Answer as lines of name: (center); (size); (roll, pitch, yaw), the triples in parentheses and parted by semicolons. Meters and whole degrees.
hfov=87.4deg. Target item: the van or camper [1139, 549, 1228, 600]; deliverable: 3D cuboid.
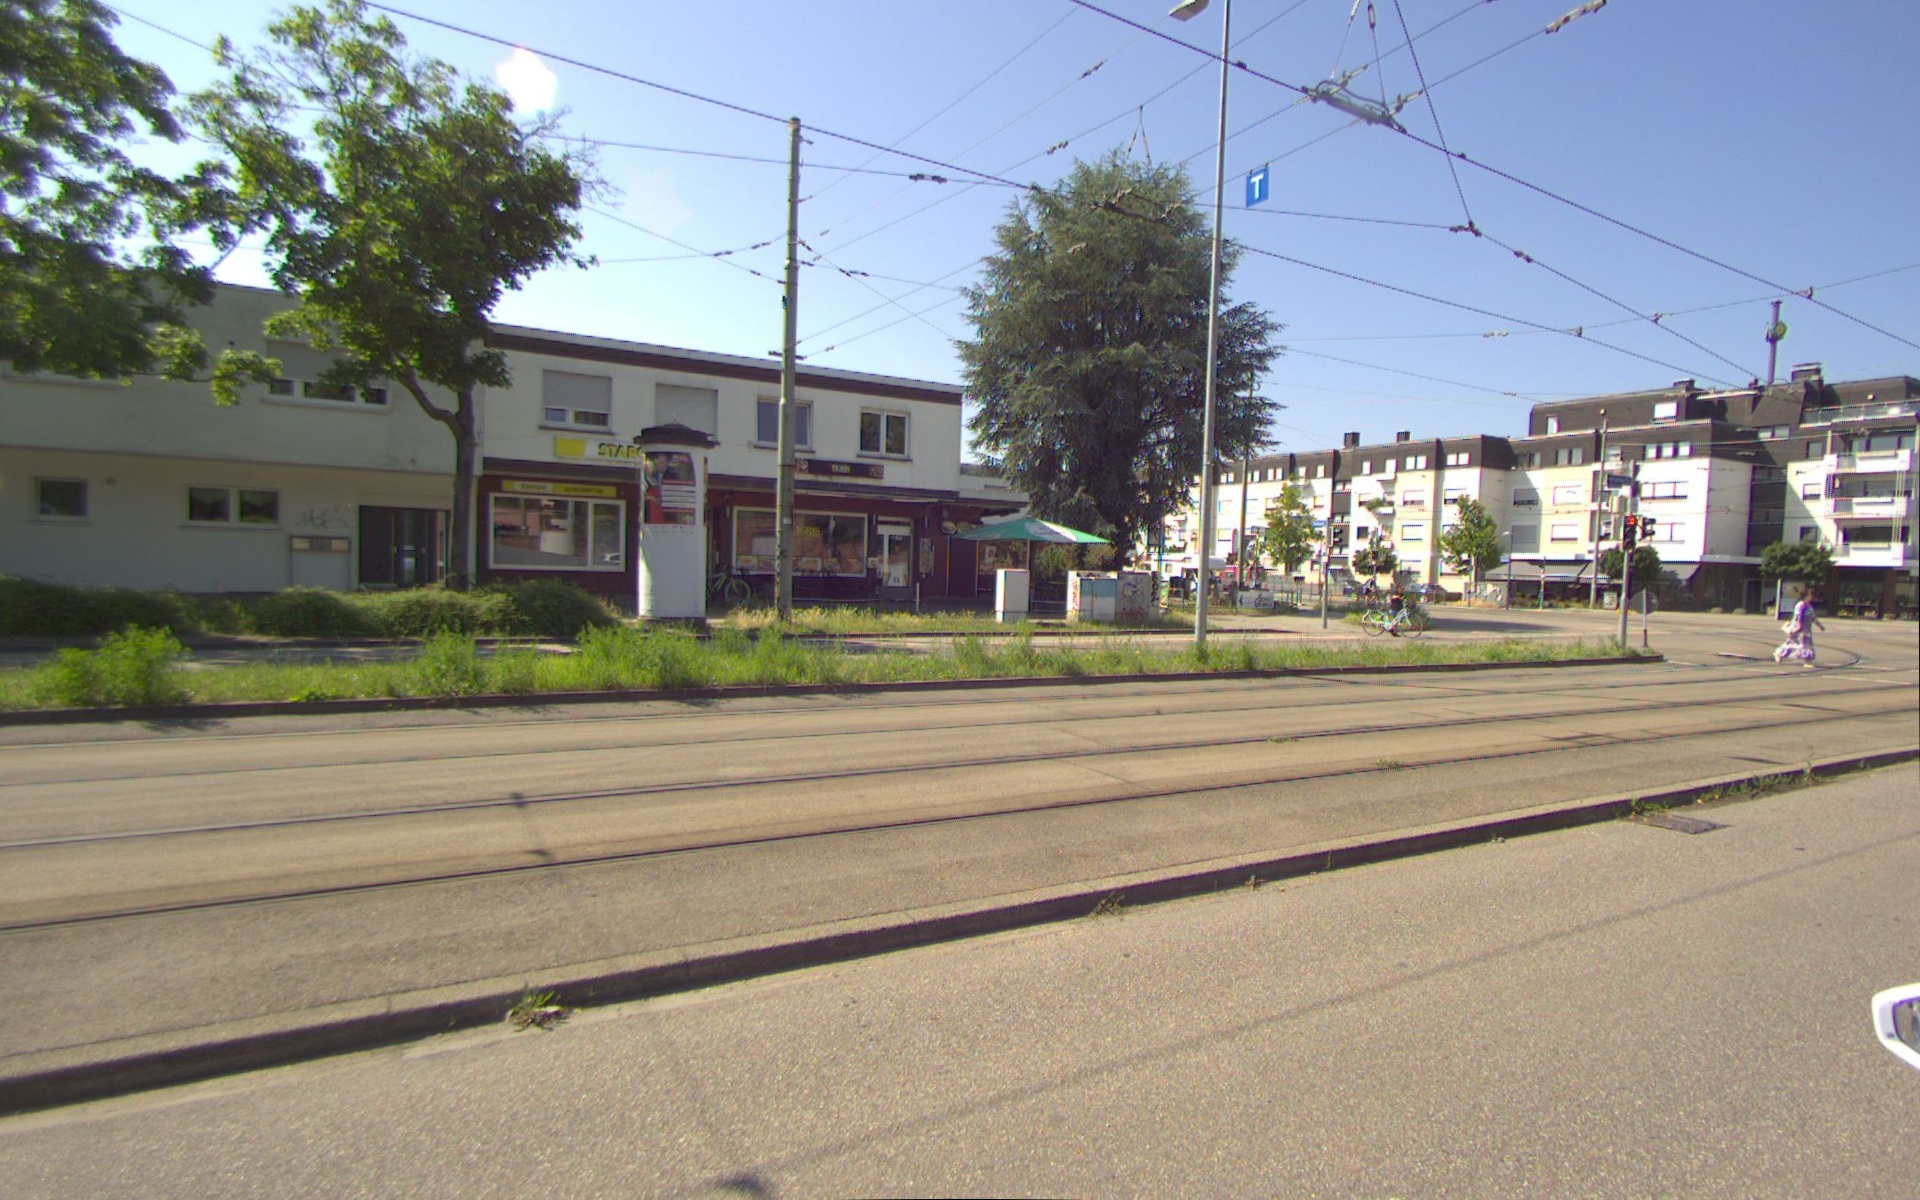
van or camper: (14.594, -1.651, 66.001); (2.545, 3.134, 5.657); (2, 0, -30)

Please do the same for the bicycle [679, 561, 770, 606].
bicycle: (-6.455, -0.427, 27.595); (2.306, 1.167, 0.783); (1, 0, -30)

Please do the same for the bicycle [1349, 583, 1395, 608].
bicycle: (22.036, -0.238, 53.758); (2.210, 1.314, 0.558); (2, 0, 32)

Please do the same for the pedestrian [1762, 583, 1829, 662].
pedestrian: (18.325, 0.483, 22.026); (0.948, 1.673, 0.963); (2, 0, -41)

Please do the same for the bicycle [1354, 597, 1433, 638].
bicycle: (12.676, 0.496, 29.413); (0.705, 1.105, 2.000); (0, 3, -43)

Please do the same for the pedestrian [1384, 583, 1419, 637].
pedestrian: (13.140, 0.290, 29.905); (0.671, 1.592, 0.738); (2, 0, -44)

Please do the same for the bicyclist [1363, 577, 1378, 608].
bicyclist: (21.992, -0.414, 53.793); (0.627, 1.634, 0.561); (2, 0, 32)
